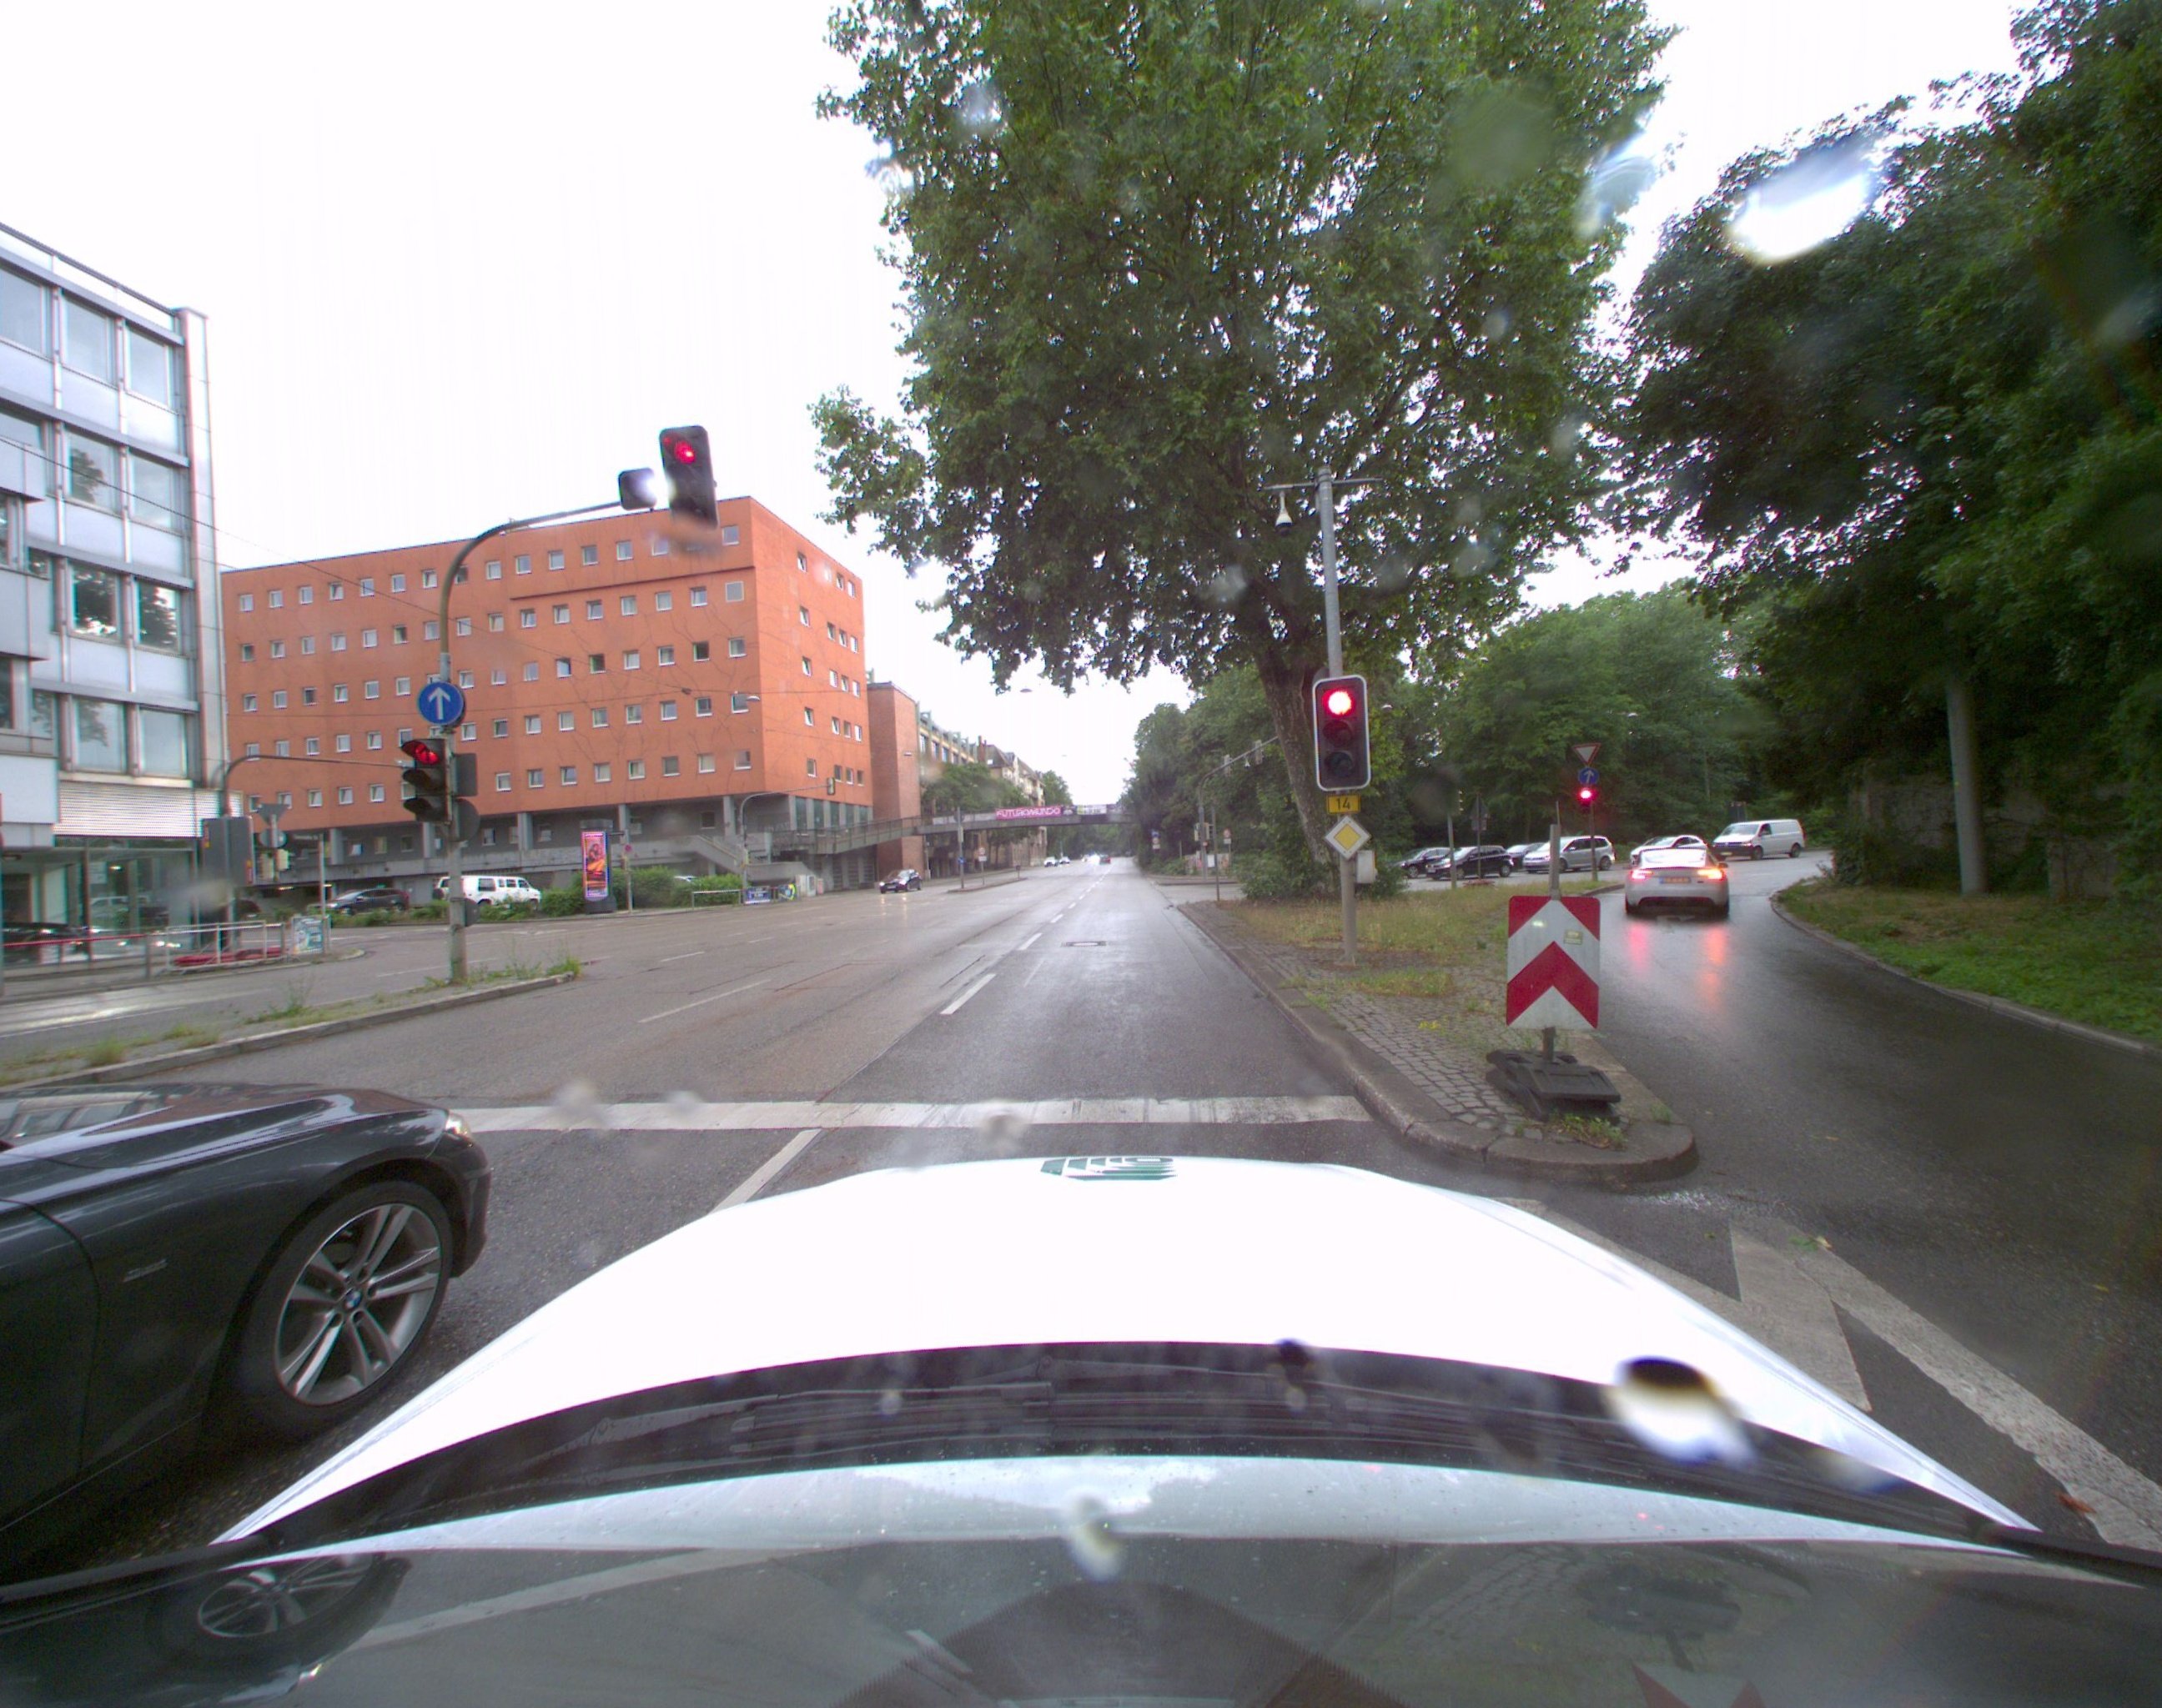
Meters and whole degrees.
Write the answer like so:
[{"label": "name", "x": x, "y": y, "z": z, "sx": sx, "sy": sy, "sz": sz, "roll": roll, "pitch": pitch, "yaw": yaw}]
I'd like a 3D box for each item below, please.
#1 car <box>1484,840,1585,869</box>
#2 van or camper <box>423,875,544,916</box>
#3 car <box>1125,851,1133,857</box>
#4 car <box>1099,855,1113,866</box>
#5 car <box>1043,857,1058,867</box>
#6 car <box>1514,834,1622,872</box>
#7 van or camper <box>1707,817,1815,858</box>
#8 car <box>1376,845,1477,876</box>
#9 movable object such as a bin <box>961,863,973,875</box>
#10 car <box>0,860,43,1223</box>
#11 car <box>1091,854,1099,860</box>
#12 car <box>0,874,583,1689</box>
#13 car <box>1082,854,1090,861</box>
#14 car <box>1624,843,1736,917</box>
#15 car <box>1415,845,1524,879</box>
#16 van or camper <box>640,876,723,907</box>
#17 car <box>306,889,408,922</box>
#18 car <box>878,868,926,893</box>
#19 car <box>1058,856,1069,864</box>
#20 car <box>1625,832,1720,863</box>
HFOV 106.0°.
[{"label": "car", "x": 22.945, "y": 0.041, "z": 41.228, "sx": 4.438, "sy": 1.402, "sz": 1.821, "roll": 0, "pitch": -1, "yaw": -14}, {"label": "van or camper", "x": -32.828, "y": 2.226, "z": 44.979, "sx": 2.113, "sy": 1.977, "sz": 5.466, "roll": 0, "pitch": -1, "yaw": 9}, {"label": "car", "x": 11.886, "y": 0.103, "z": 201.856, "sx": 1.835, "sy": 1.453, "sz": 3.778, "roll": 0, "pitch": -1, "yaw": 2}, {"label": "car", "x": 3.886, "y": 1.008, "z": 128.056, "sx": 1.998, "sy": 1.643, "sz": 4.376, "roll": -3, "pitch": 0, "yaw": 0}, {"label": "car", "x": -5.085, "y": 1.395, "z": 137.404, "sx": 1.881, "sy": 1.610, "sz": 4.461, "roll": -3, "pitch": -1, "yaw": 4}, {"label": "car", "x": 22.601, "y": -0.040, "z": 37.831, "sx": 4.203, "sy": 1.680, "sz": 1.898, "roll": 0, "pitch": -1, "yaw": -14}, {"label": "van or camper", "x": 34.726, "y": -0.826, "z": 41.592, "sx": 4.863, "sy": 1.947, "sz": 1.895, "roll": -1, "pitch": -1, "yaw": -18}, {"label": "car", "x": 16.868, "y": 0.319, "z": 39.817, "sx": 4.205, "sy": 1.440, "sz": 1.941, "roll": 0, "pitch": -1, "yaw": -14}, {"label": "movable object such as a bin", "x": -15.120, "y": 1.942, "z": 107.677, "sx": 1.277, "sy": 1.518, "sz": 1.274, "roll": -3, "pitch": 0, "yaw": 3}, {"label": "car", "x": -5.997, "y": 0.847, "z": 1.696, "sx": 1.801, "sy": 1.656, "sz": 4.449, "roll": 0, "pitch": -1, "yaw": 4}, {"label": "car", "x": 3.755, "y": 0.862, "z": 215.165, "sx": 1.823, "sy": 1.393, "sz": 4.409, "roll": -4, "pitch": -1, "yaw": 3}, {"label": "car", "x": -2.920, "y": 0.837, "z": 0.894, "sx": 1.769, "sy": 1.458, "sz": 4.480, "roll": -3, "pitch": -1, "yaw": 3}, {"label": "car", "x": 1.136, "y": 0.813, "z": 182.905, "sx": 1.676, "sy": 1.436, "sz": 3.865, "roll": -3, "pitch": -1, "yaw": 3}, {"label": "car", "x": 13.795, "y": 0.501, "z": 18.859, "sx": 1.834, "sy": 1.448, "sz": 4.648, "roll": 2, "pitch": 2, "yaw": 36}, {"label": "car", "x": 17.161, "y": 0.334, "z": 36.036, "sx": 4.192, "sy": 1.460, "sz": 1.784, "roll": 0, "pitch": -1, "yaw": -14}, {"label": "van or camper", "x": -23.841, "y": 2.241, "z": 48.679, "sx": 3.965, "sy": 1.627, "sz": 1.918, "roll": -3, "pitch": 0, "yaw": 8}, {"label": "car", "x": -40.248, "y": 2.821, "z": 45.410, "sx": 1.699, "sy": 1.612, "sz": 4.097, "roll": 0, "pitch": -1, "yaw": 9}, {"label": "car", "x": -11.242, "y": 1.646, "z": 51.469, "sx": 1.677, "sy": 1.419, "sz": 4.221, "roll": -4, "pitch": -1, "yaw": 6}, {"label": "car", "x": -3.408, "y": 1.268, "z": 163.044, "sx": 1.701, "sy": 1.464, "sz": 4.047, "roll": -3, "pitch": -1, "yaw": 5}, {"label": "car", "x": 28.844, "y": -0.293, "z": 39.726, "sx": 3.857, "sy": 1.461, "sz": 1.650, "roll": 0, "pitch": -1, "yaw": -14}]
